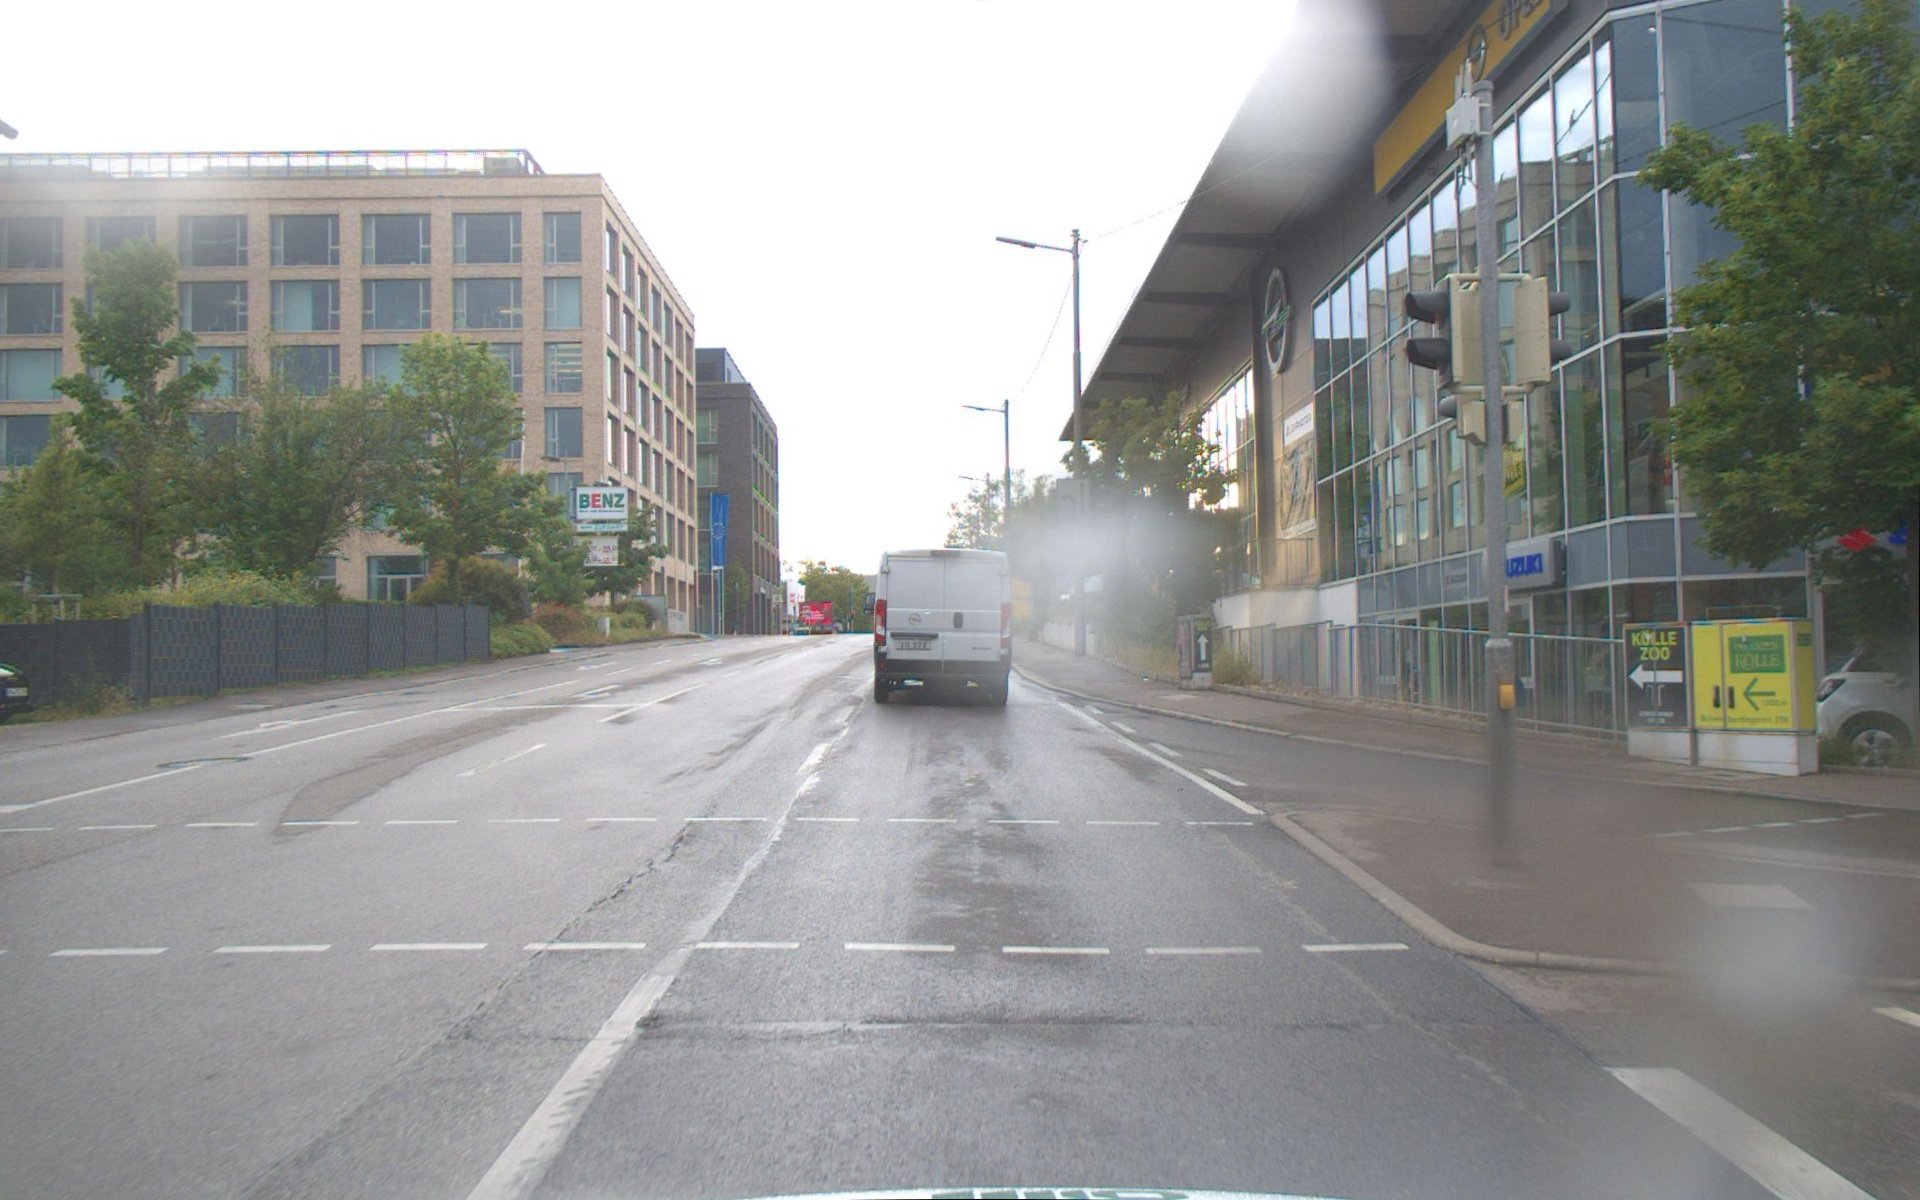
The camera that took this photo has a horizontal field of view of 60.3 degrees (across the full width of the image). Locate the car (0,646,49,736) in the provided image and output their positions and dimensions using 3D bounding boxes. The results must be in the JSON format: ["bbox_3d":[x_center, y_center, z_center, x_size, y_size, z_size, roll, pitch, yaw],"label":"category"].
[{"bbox_3d":[-14.983,1.241,22.781,3.909,1.183,1.605,0,0,-6],"label":"car"}]

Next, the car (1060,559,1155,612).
[{"bbox_3d":[5.370,-0.490,59.670,1.954,1.740,4.425,-3,-2,25],"label":"car"}]

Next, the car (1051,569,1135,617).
[{"bbox_3d":[5.221,-0.235,64.454,1.953,1.740,4.577,-3,-2,22],"label":"car"}]

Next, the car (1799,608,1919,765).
[{"bbox_3d":[10.697,0.882,16.693,3.909,1.535,1.896,-1,-4,27],"label":"car"}]

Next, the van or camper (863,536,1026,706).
[{"bbox_3d":[-0.225,0.308,25.952,2.292,2.398,5.199,0,0,0],"label":"van or camper"}]

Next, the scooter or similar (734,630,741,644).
[{"bbox_3d":[-17.156,2.856,127.392,0.343,1.090,1.428,0,-2,0],"label":"scooter or similar"}]

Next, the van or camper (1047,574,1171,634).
[{"bbox_3d":[7.038,0.189,78.503,5.620,2.771,2.351,0,-1,-1],"label":"van or camper"}]
